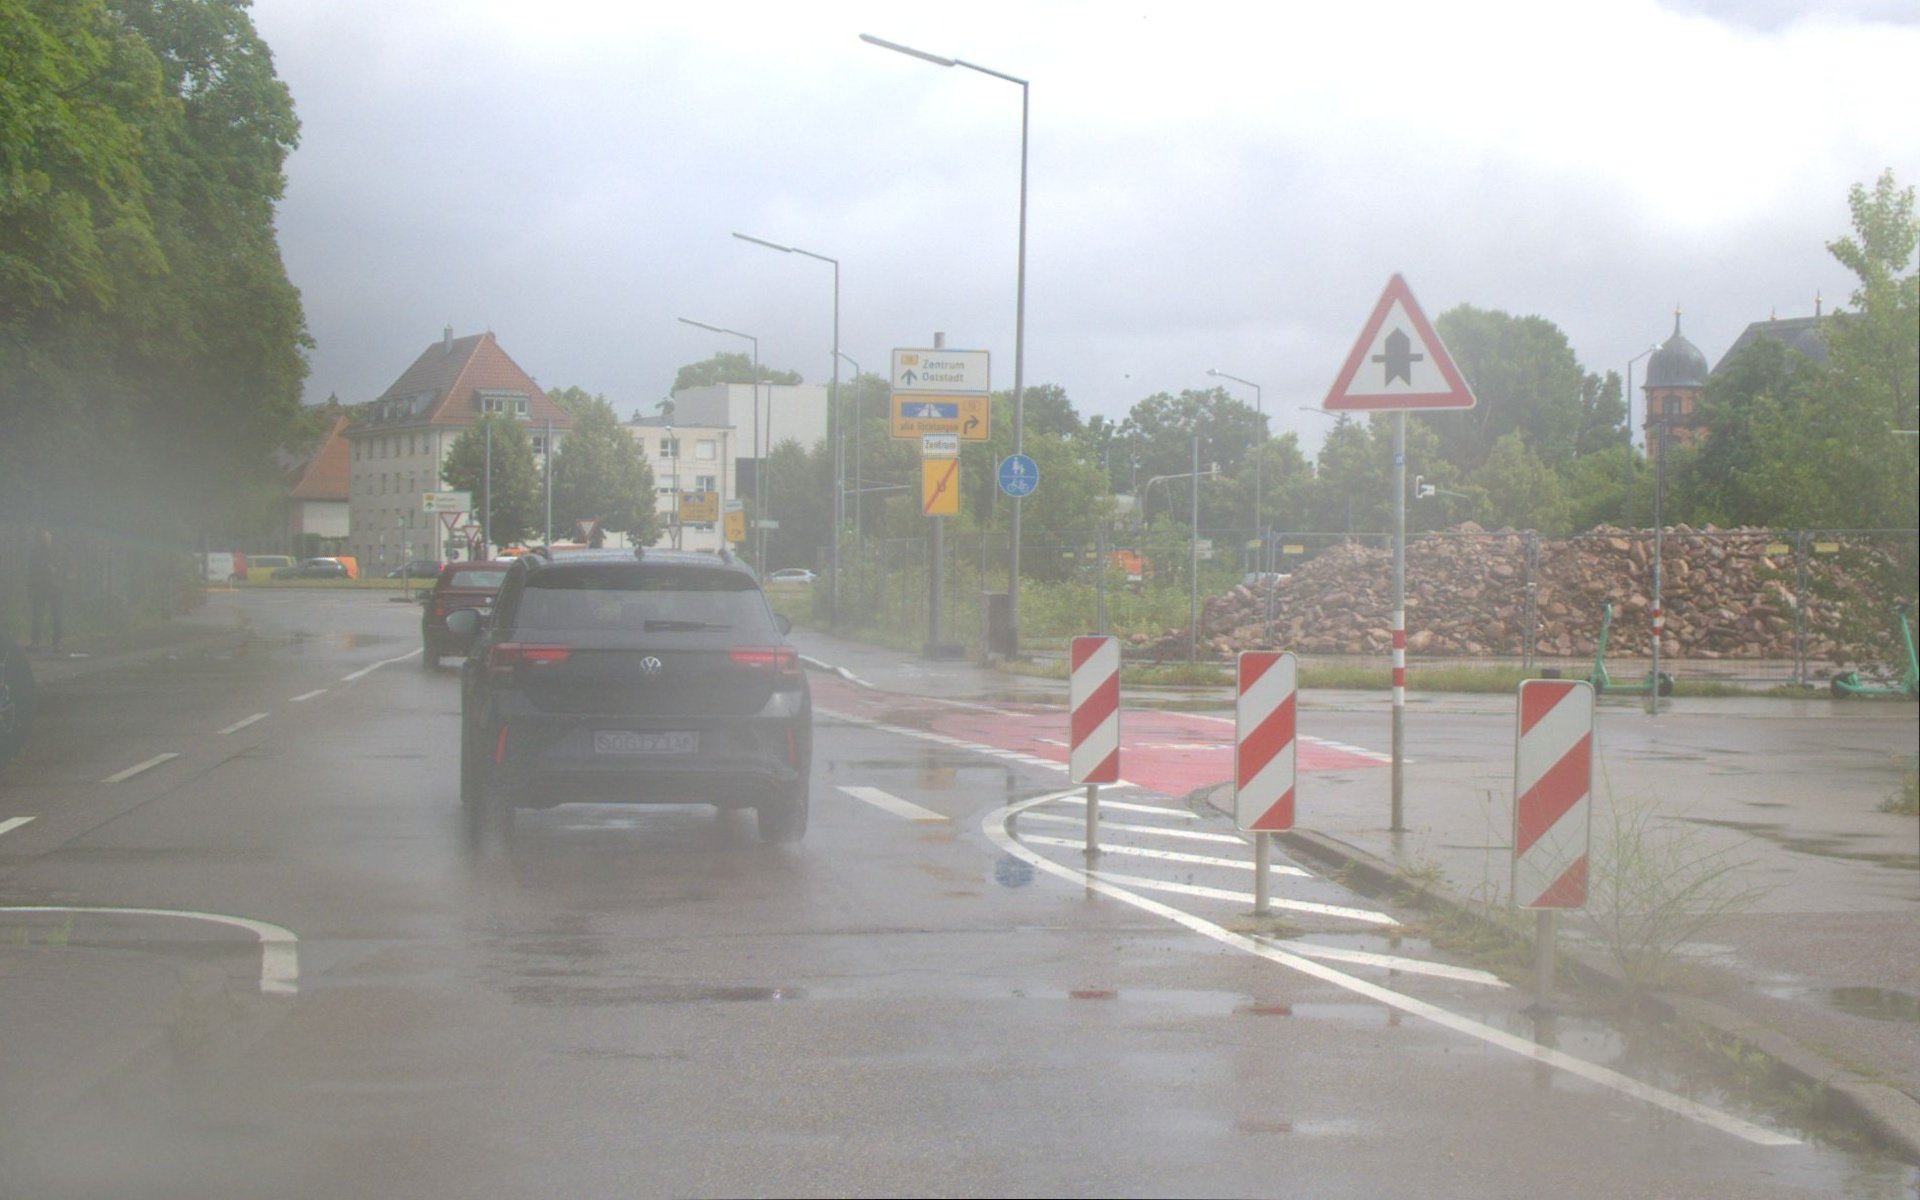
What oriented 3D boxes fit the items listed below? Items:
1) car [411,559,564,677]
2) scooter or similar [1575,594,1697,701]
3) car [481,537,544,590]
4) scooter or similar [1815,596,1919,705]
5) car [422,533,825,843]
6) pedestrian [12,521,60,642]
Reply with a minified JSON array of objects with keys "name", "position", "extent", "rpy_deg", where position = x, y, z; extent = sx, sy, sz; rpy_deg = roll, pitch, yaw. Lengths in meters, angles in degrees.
[{"name":"car","position":[-6.189,0.235,45.344],"extent":[1.841,1.437,4.001],"rpy_deg":[-2,0,-6]},{"name":"scooter or similar","position":[8.146,0.563,41.471],"extent":[1.283,1.183,0.502],"rpy_deg":[5,3,34]},{"name":"car","position":[-14.711,-1.197,112.906],"extent":[1.996,1.697,4.017],"rpy_deg":[0,1,-8]},{"name":"scooter or similar","position":[10.847,0.586,40.614],"extent":[1.283,1.183,0.502],"rpy_deg":[5,3,34]},{"name":"car","position":[-1.957,0.426,19.172],"extent":[1.986,1.515,4.001],"rpy_deg":[-1,0,-8]},{"name":"pedestrian","position":[-13.338,-0.273,49.622],"extent":[0.524,1.695,0.566],"rpy_deg":[3,2,-7]}]
